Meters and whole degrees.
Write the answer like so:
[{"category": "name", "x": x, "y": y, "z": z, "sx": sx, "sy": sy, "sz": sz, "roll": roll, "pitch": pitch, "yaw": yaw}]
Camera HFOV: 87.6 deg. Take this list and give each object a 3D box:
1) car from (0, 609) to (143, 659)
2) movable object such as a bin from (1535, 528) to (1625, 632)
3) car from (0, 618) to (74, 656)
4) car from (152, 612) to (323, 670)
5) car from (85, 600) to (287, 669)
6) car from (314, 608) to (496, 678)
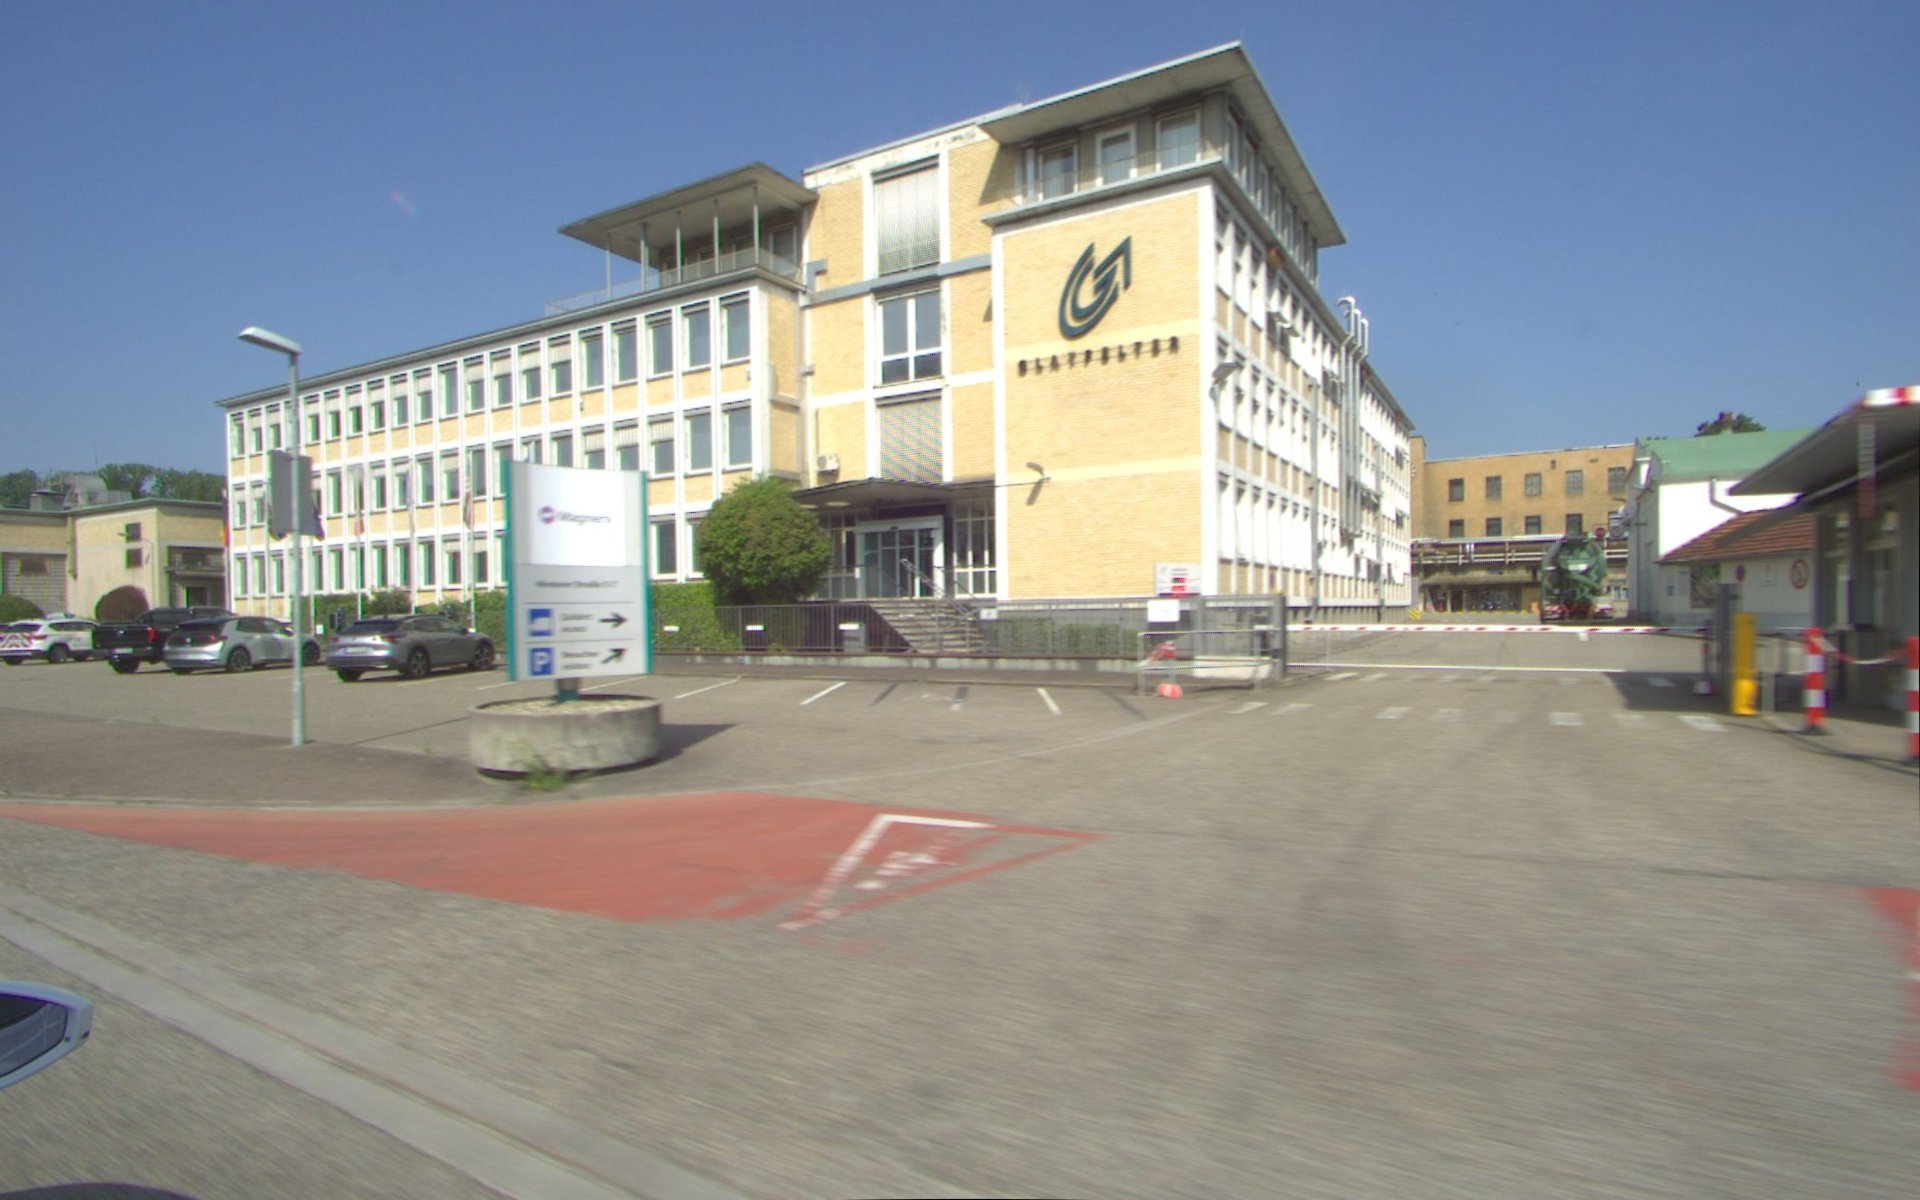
[{"category": "car", "x": -32.359, "y": 1.203, "z": 36.403, "sx": 1.833, "sy": 1.694, "sz": 4.174, "roll": 0, "pitch": -1, "yaw": 2}, {"category": "movable object such as a bin", "x": 25.959, "y": -0.743, "z": 42.232, "sx": 2.746, "sy": 3.923, "sz": 7.443, "roll": -2, "pitch": -1, "yaw": 29}, {"category": "car", "x": -37.358, "y": 1.433, "z": 39.296, "sx": 1.631, "sy": 1.419, "sz": 4.000, "roll": 0, "pitch": -1, "yaw": 0}, {"category": "car", "x": -20.353, "y": 1.104, "z": 28.443, "sx": 1.849, "sy": 1.524, "sz": 4.000, "roll": -1, "pitch": 0, "yaw": 2}, {"category": "car", "x": -22.761, "y": 0.963, "z": 29.759, "sx": 1.944, "sy": 1.856, "sz": 5.036, "roll": -1, "pitch": 0, "yaw": 2}, {"category": "car", "x": -13.247, "y": 0.973, "z": 24.240, "sx": 1.849, "sy": 1.524, "sz": 4.311, "roll": -1, "pitch": 0, "yaw": 2}]
